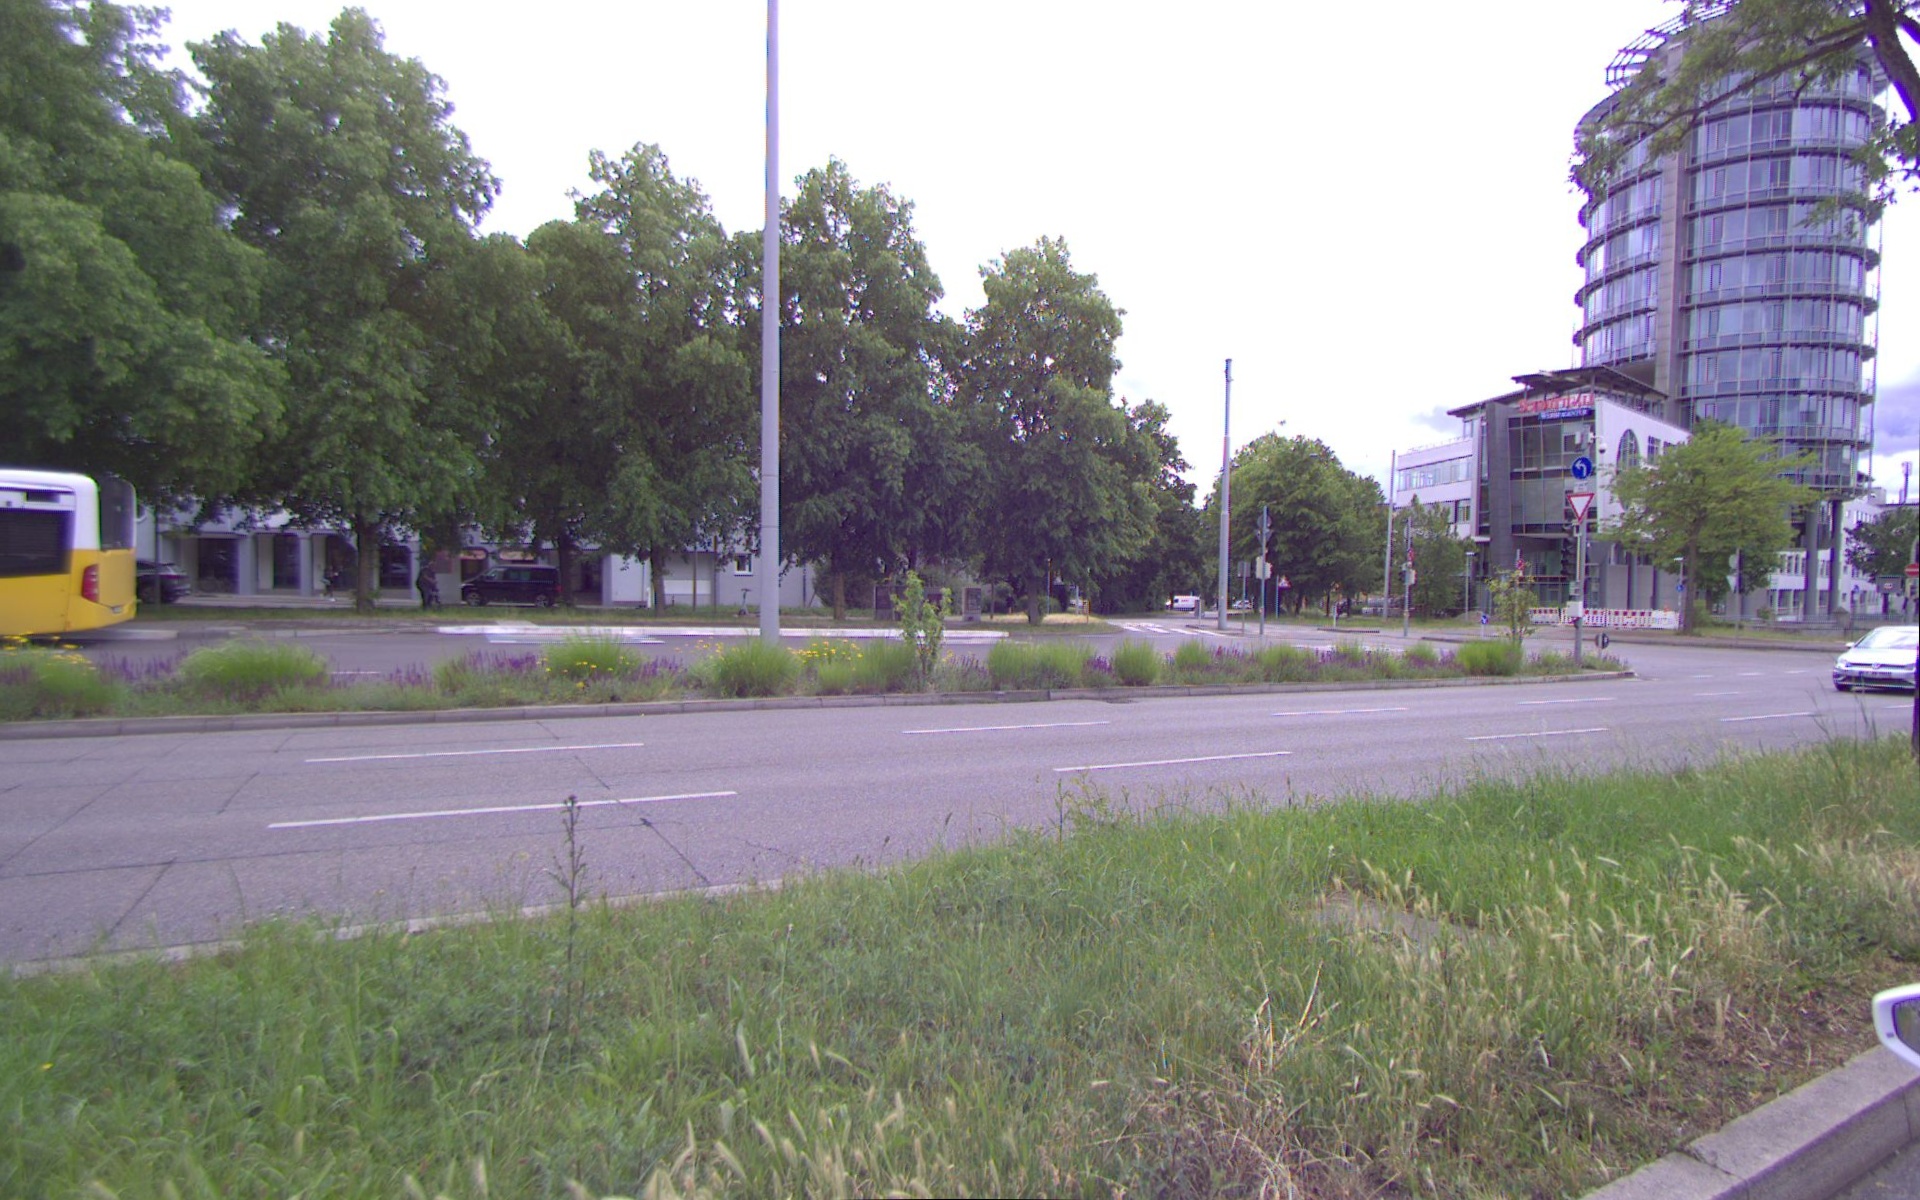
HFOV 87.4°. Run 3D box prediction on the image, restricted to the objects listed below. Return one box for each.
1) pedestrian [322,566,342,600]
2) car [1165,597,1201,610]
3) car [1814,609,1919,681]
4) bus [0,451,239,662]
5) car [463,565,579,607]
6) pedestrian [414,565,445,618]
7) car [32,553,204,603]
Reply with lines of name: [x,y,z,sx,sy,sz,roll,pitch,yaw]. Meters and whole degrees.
pedestrian: [-28.863,-0.786,46.189,0.658,1.568,0.656,1,1,-22]
car: [39.029,0.617,175.901,5.881,2.040,1.995,1,1,-13]
car: [20.912,0.953,22.433,4.090,1.464,1.743,1,0,-33]
bus: [-18.618,-0.834,17.157,9.779,3.502,3.021,1,2,-26]
car: [-20.802,-0.647,47.794,4.736,1.857,1.994,1,1,-15]
pedestrian: [-17.159,-0.269,32.492,0.847,1.711,0.453,1,1,-30]
car: [-29.295,-0.741,35.135,4.191,1.602,1.987,1,1,-26]
